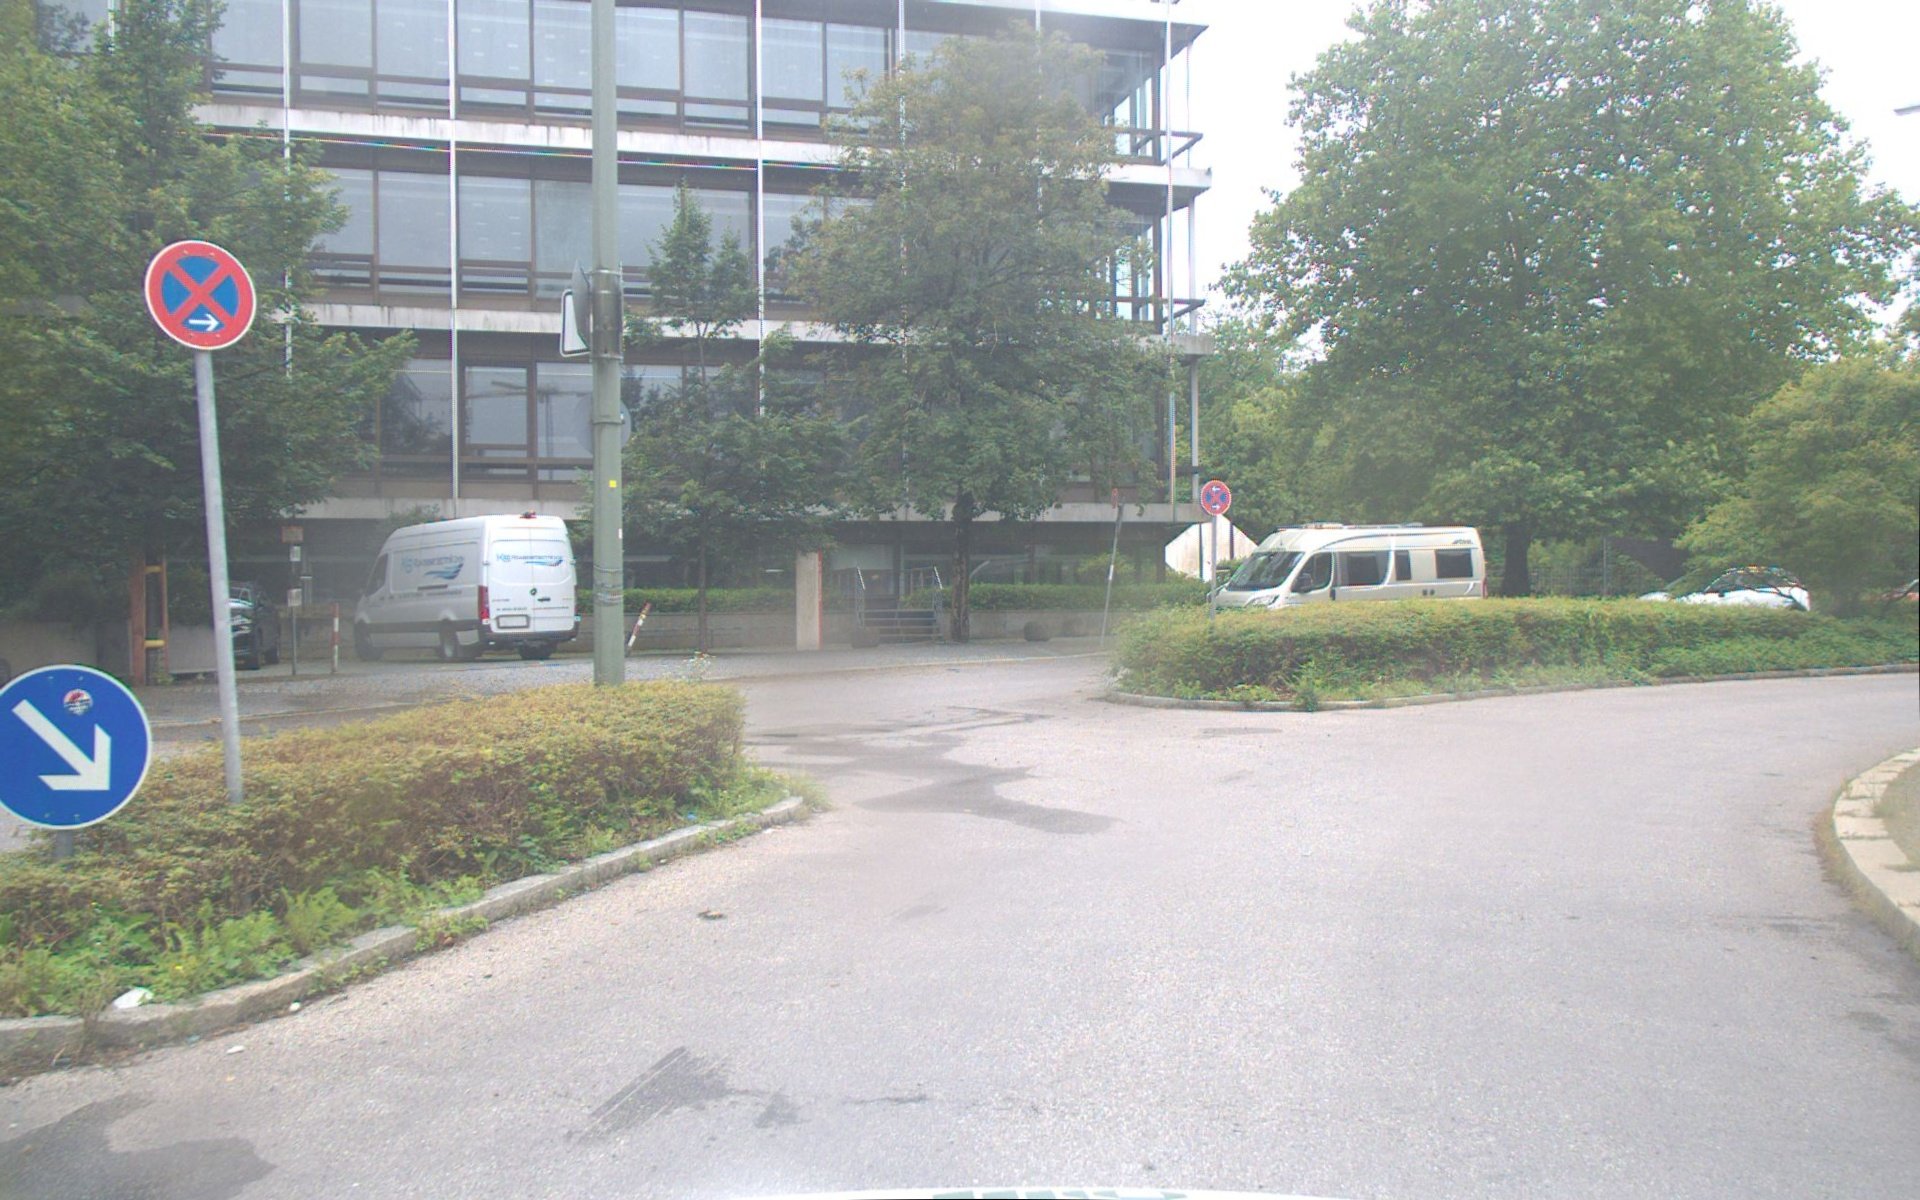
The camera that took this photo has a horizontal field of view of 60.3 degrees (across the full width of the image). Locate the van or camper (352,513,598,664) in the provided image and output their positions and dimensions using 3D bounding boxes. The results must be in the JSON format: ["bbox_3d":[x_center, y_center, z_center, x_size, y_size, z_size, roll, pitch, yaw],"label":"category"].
[{"bbox_3d":[-9.524,-0.105,31.998,2.143,2.626,6.442,0,-2,-40],"label":"van or camper"}]

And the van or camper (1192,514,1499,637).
[{"bbox_3d":[7.941,-0.486,33.835,6.328,2.321,2.233,-1,0,-30],"label":"van or camper"}]

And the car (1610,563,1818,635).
[{"bbox_3d":[17.035,-0.034,37.438,3.919,1.534,1.993,-1,0,-14],"label":"car"}]

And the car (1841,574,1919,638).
[{"bbox_3d":[23.108,0.103,38.901,3.919,1.434,1.993,-1,0,-14],"label":"car"}]

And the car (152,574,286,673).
[{"bbox_3d":[-14.045,0.404,31.562,1.912,1.751,4.216,-1,0,-19],"label":"car"}]
